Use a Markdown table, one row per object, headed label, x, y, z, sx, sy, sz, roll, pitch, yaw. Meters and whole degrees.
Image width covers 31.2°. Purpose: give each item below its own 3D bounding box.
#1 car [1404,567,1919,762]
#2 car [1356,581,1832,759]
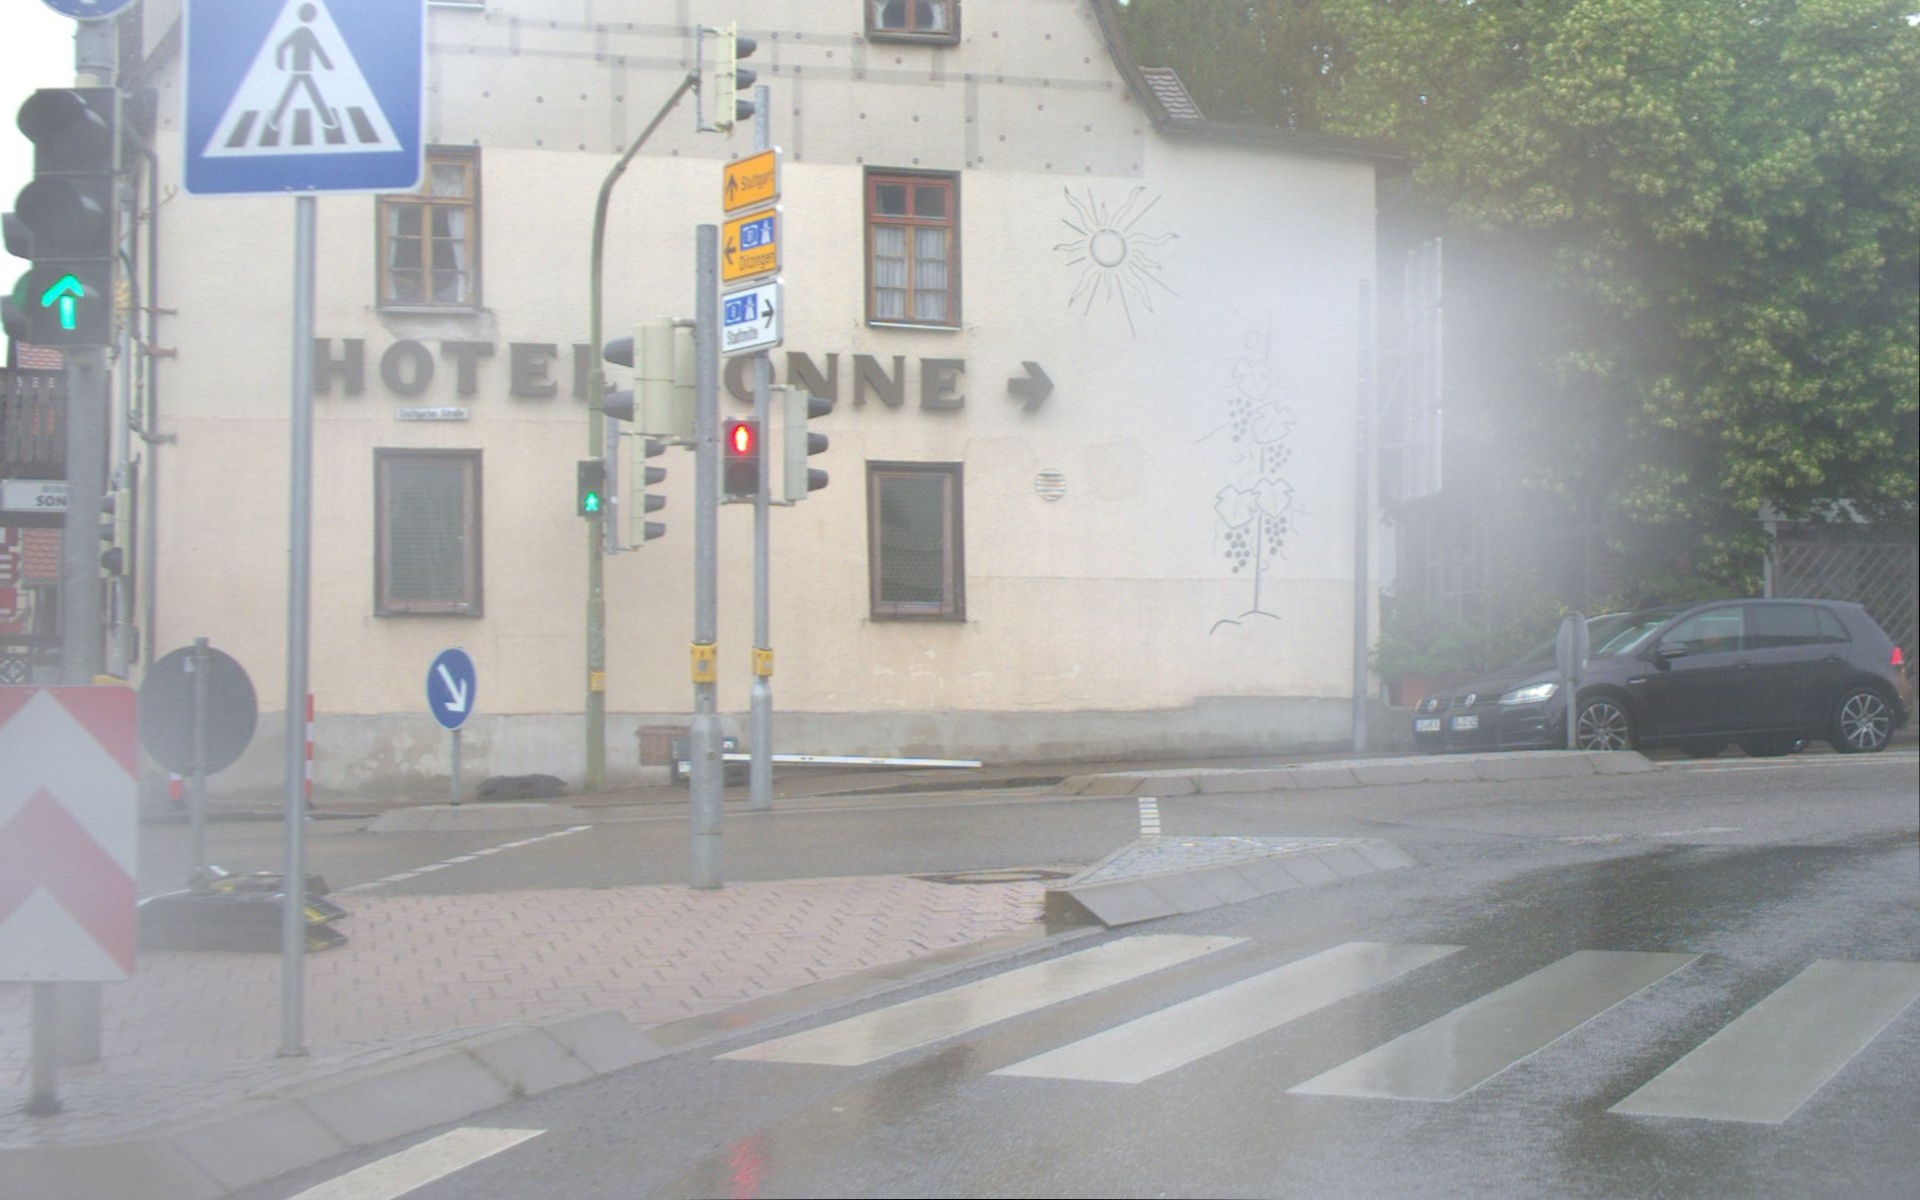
| label | x | y | z | sx | sy | sz | roll | pitch | yaw |
| --- | --- | --- | --- | --- | --- | --- | --- | --- | --- |
| car | 6.298 | 0.569 | 30.413 | 4.301 | 1.499 | 1.779 | -2 | -3 | -21 |
| car | 6.200 | 0.692 | 33.685 | 4.171 | 1.514 | 1.779 | -2 | -3 | -19 |
